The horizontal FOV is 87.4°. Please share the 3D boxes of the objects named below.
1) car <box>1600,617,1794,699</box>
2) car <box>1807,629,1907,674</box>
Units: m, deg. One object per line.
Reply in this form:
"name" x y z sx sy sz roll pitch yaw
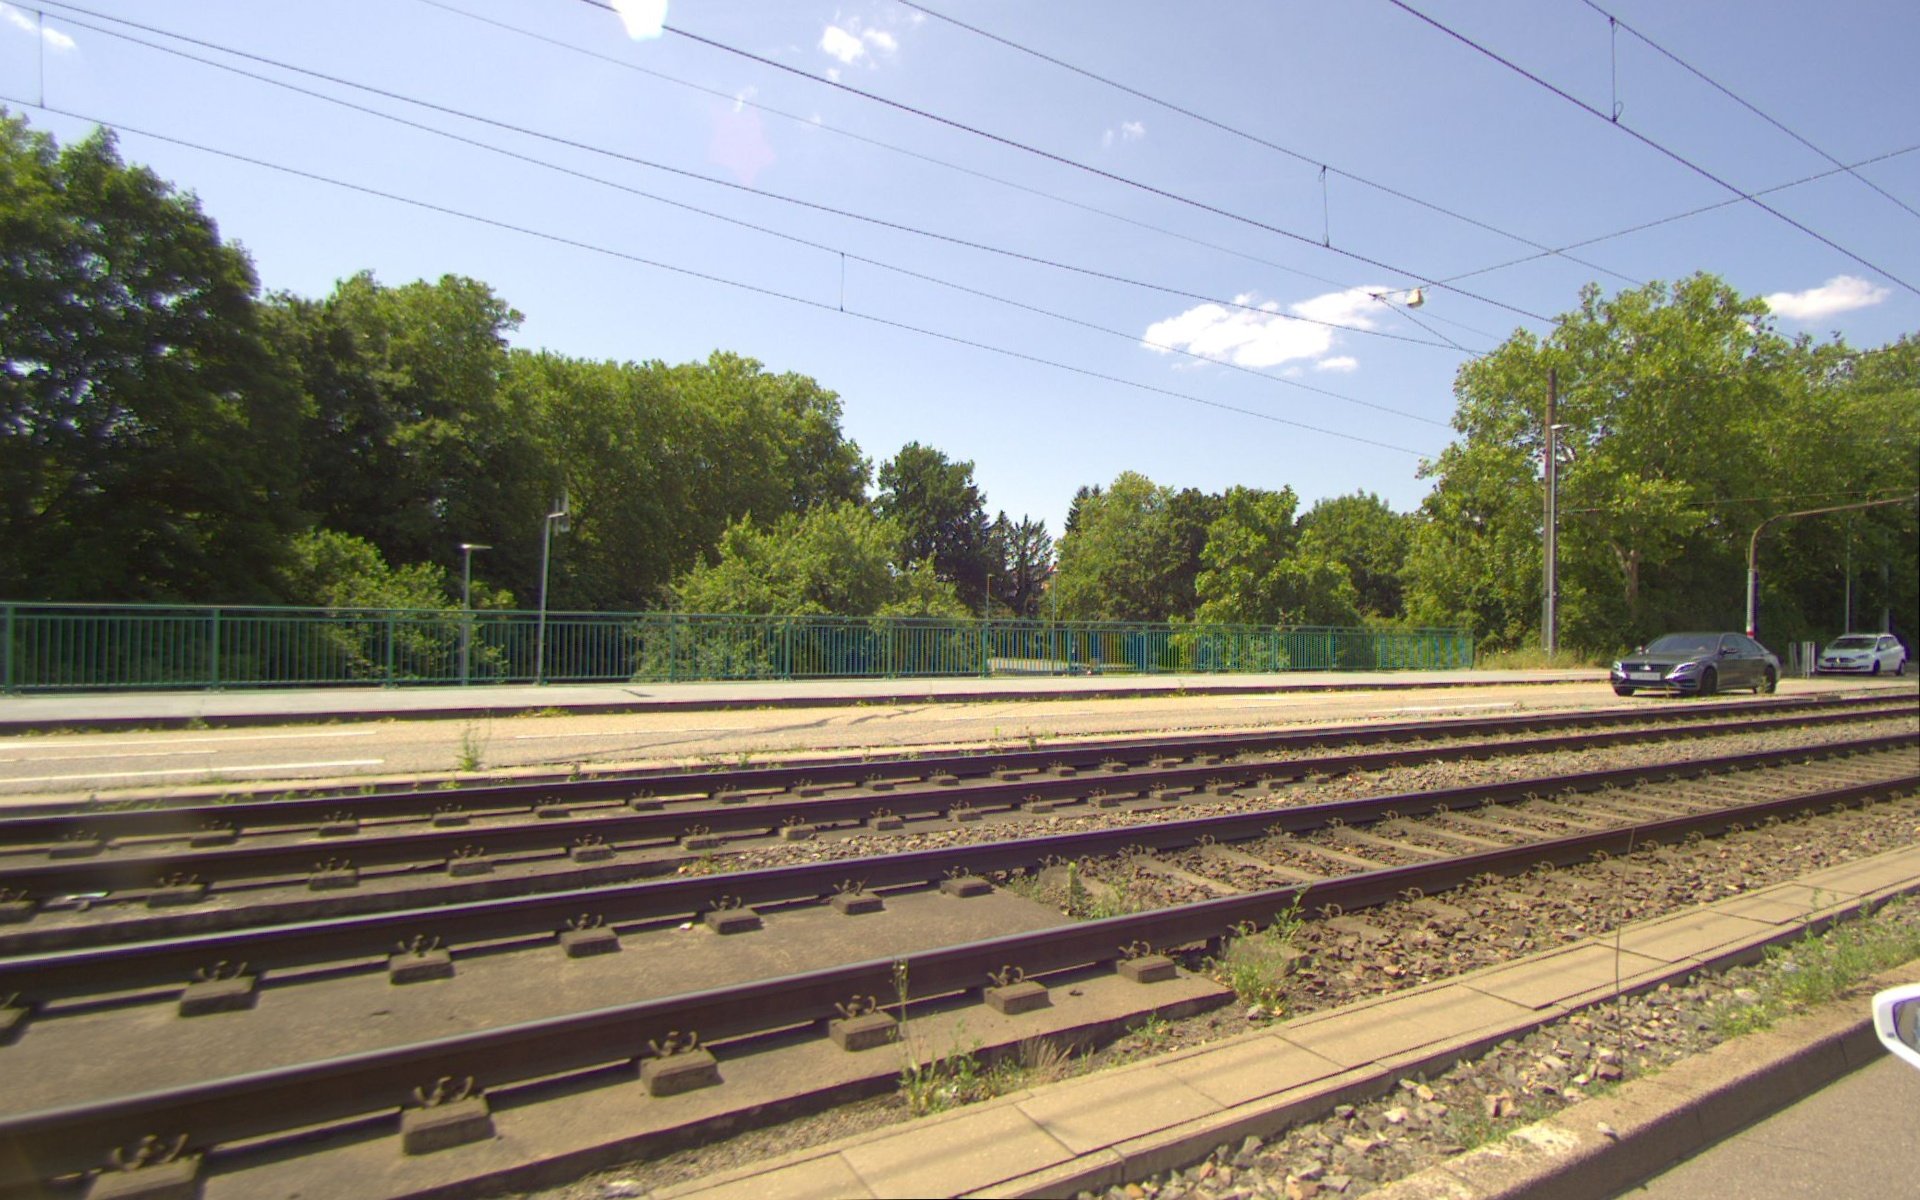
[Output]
"car" 17.631 1.361 23.945 5.270 1.743 1.865 2 -1 -31
"car" 35.836 2.032 40.105 4.564 1.652 1.711 0 -3 -32
